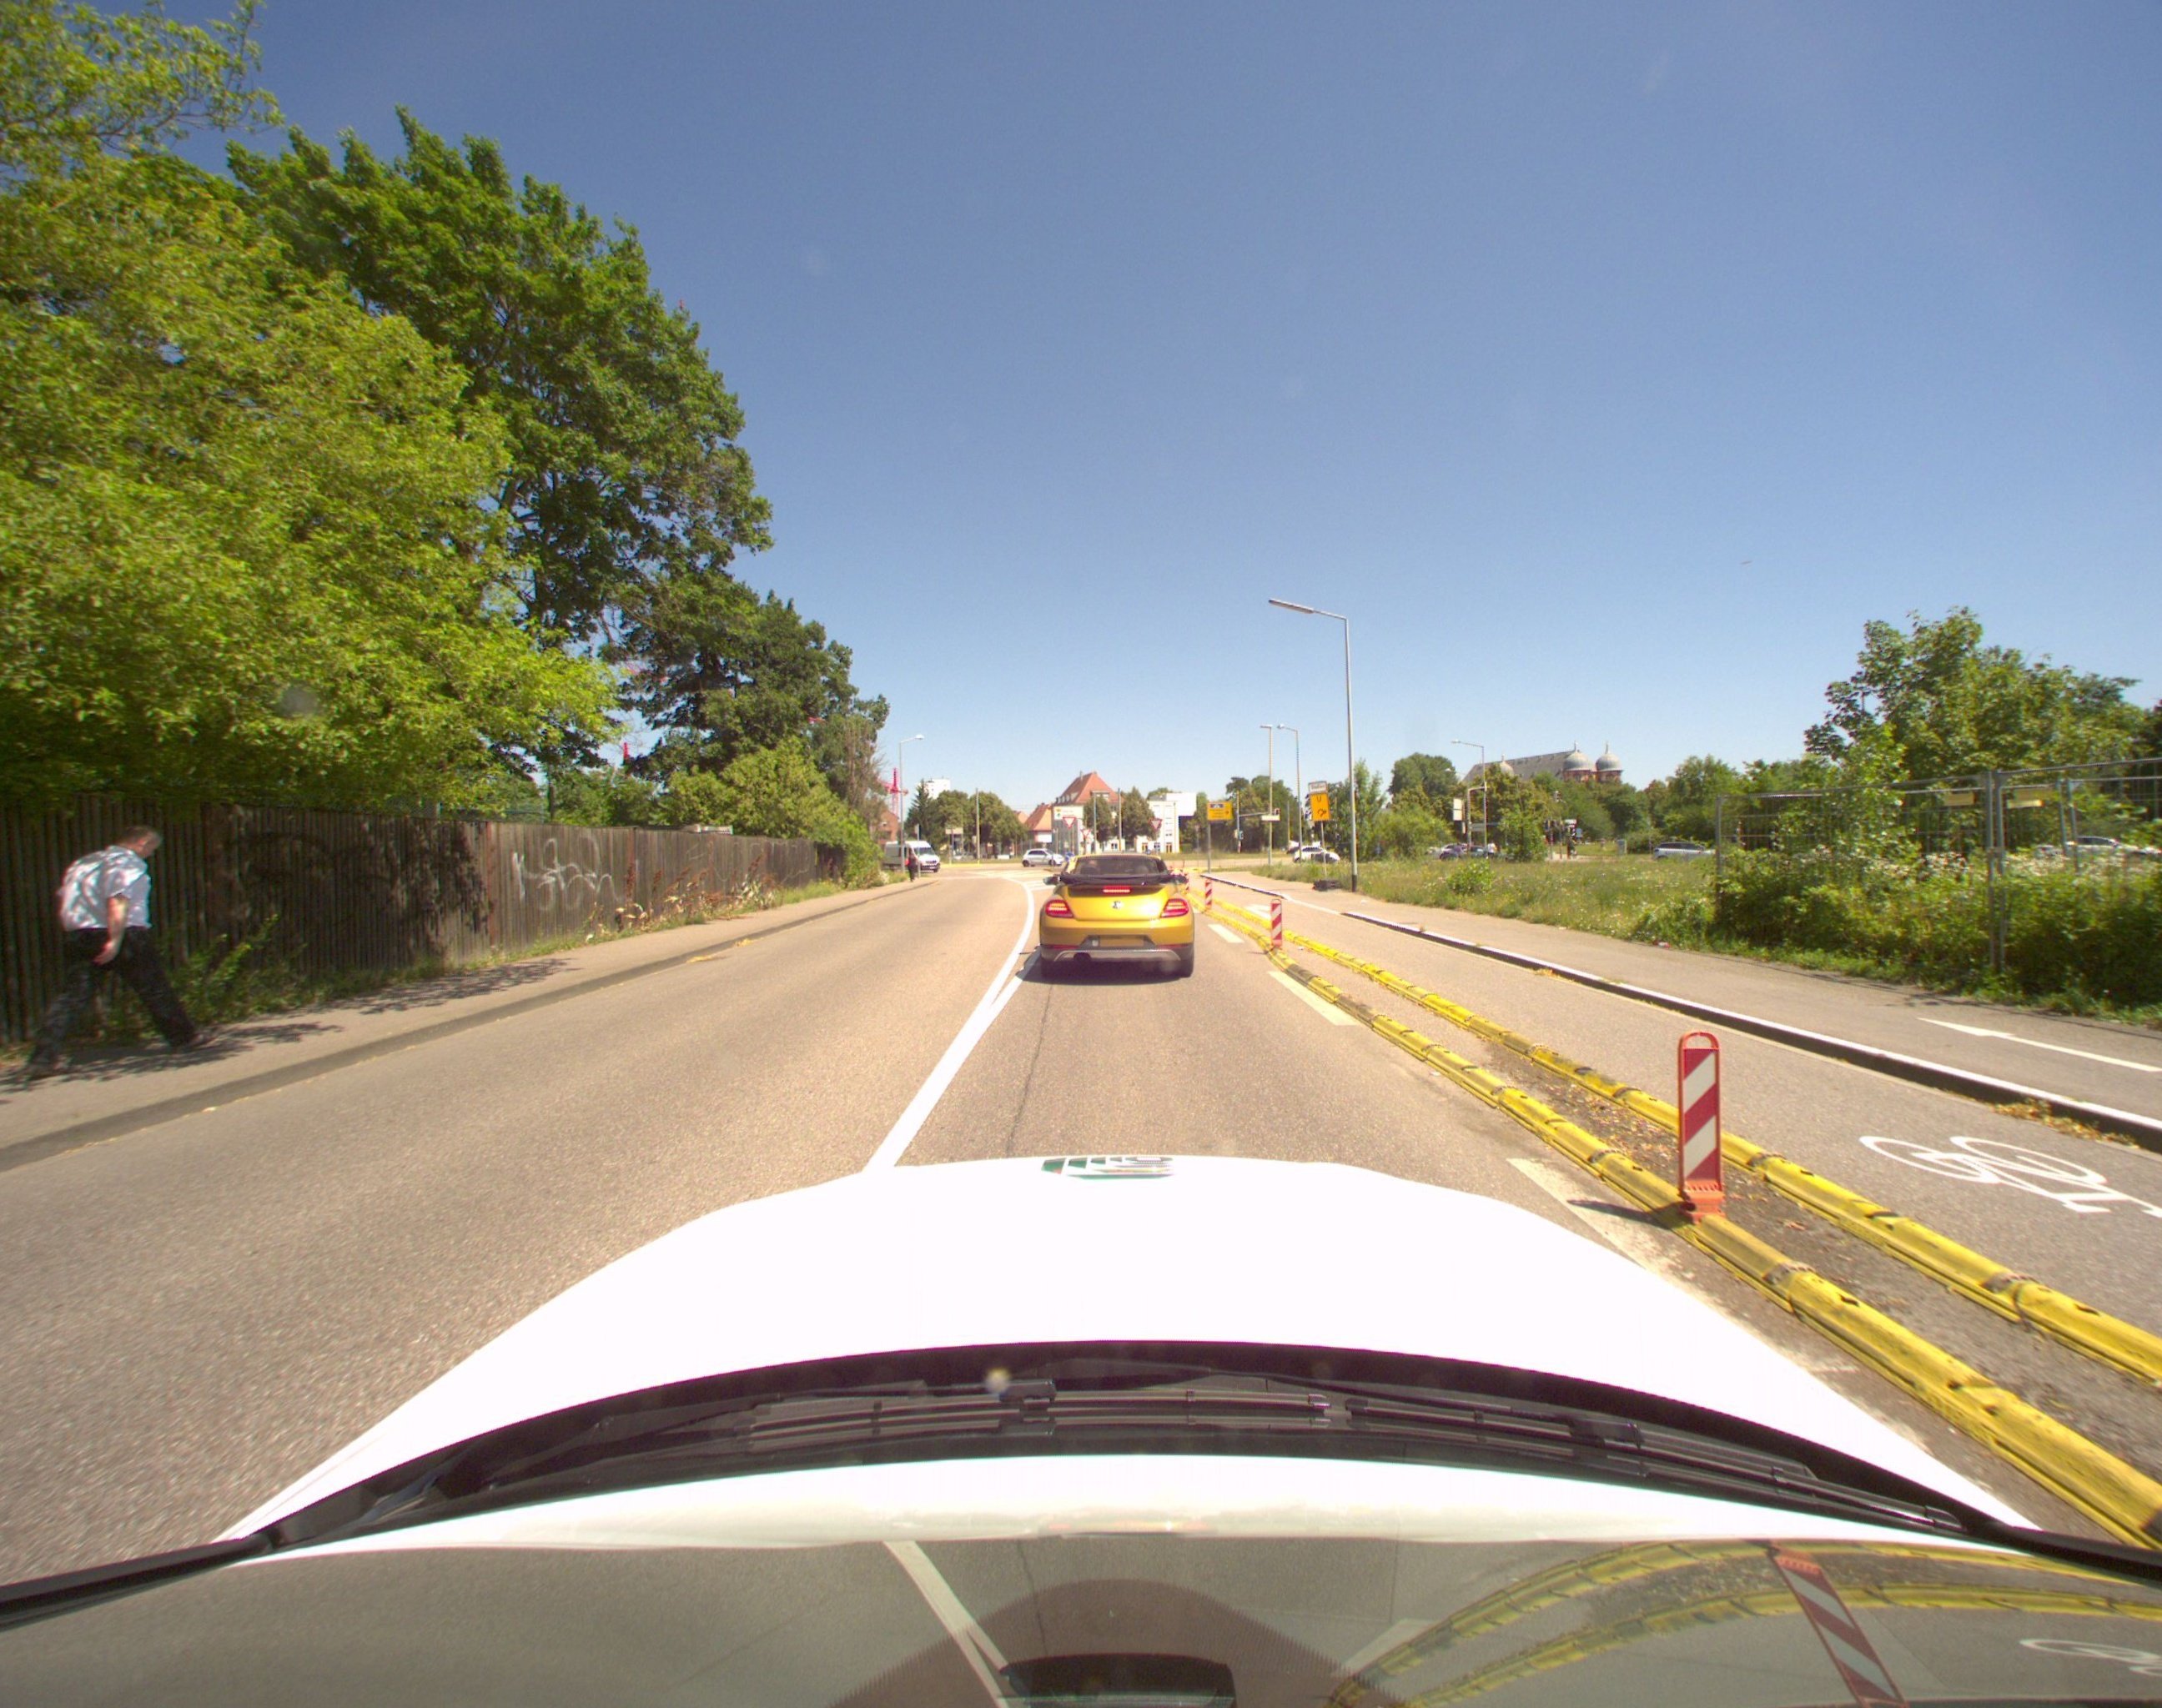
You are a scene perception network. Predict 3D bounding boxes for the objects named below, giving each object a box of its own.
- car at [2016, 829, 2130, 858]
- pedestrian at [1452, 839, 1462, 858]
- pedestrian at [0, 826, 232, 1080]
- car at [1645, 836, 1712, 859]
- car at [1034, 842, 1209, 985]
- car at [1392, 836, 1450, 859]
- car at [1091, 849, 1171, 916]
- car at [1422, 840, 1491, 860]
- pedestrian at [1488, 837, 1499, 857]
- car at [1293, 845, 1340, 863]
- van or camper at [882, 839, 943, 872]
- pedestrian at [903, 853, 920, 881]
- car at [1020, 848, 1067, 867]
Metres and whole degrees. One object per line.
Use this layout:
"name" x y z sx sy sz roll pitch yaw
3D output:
"car" 48.968 -0.498 40.295 3.424 1.318 1.331 -1 0 42
"pedestrian" 25.641 -0.377 55.549 0.597 1.311 0.549 -1 0 22
"pedestrian" -7.078 0.680 6.012 0.721 1.725 0.817 -1 0 -2
"car" 37.543 -0.428 51.211 3.286 1.358 1.406 -1 0 42
"car" 0.434 0.610 10.344 1.784 1.436 3.813 -1 0 0
"car" 27.354 -0.545 65.538 4.047 1.744 1.571 -1 0 10
"car" 1.174 0.629 19.961 1.720 1.443 4.002 -1 0 2
"car" 26.791 -0.293 58.234 4.402 1.358 1.545 -1 0 21
"pedestrian" 27.158 -0.464 53.654 0.539 1.311 0.608 -1 0 33
"car" 17.808 -0.030 61.562 3.410 1.275 1.208 -1 0 17
"van or camper" -13.949 0.165 67.111 2.089 2.577 6.603 -2 0 -39
"pedestrian" -8.948 0.659 43.032 0.721 1.454 0.817 -1 0 -2
"car" -3.233 0.308 70.909 3.665 1.571 1.691 -1 0 20
